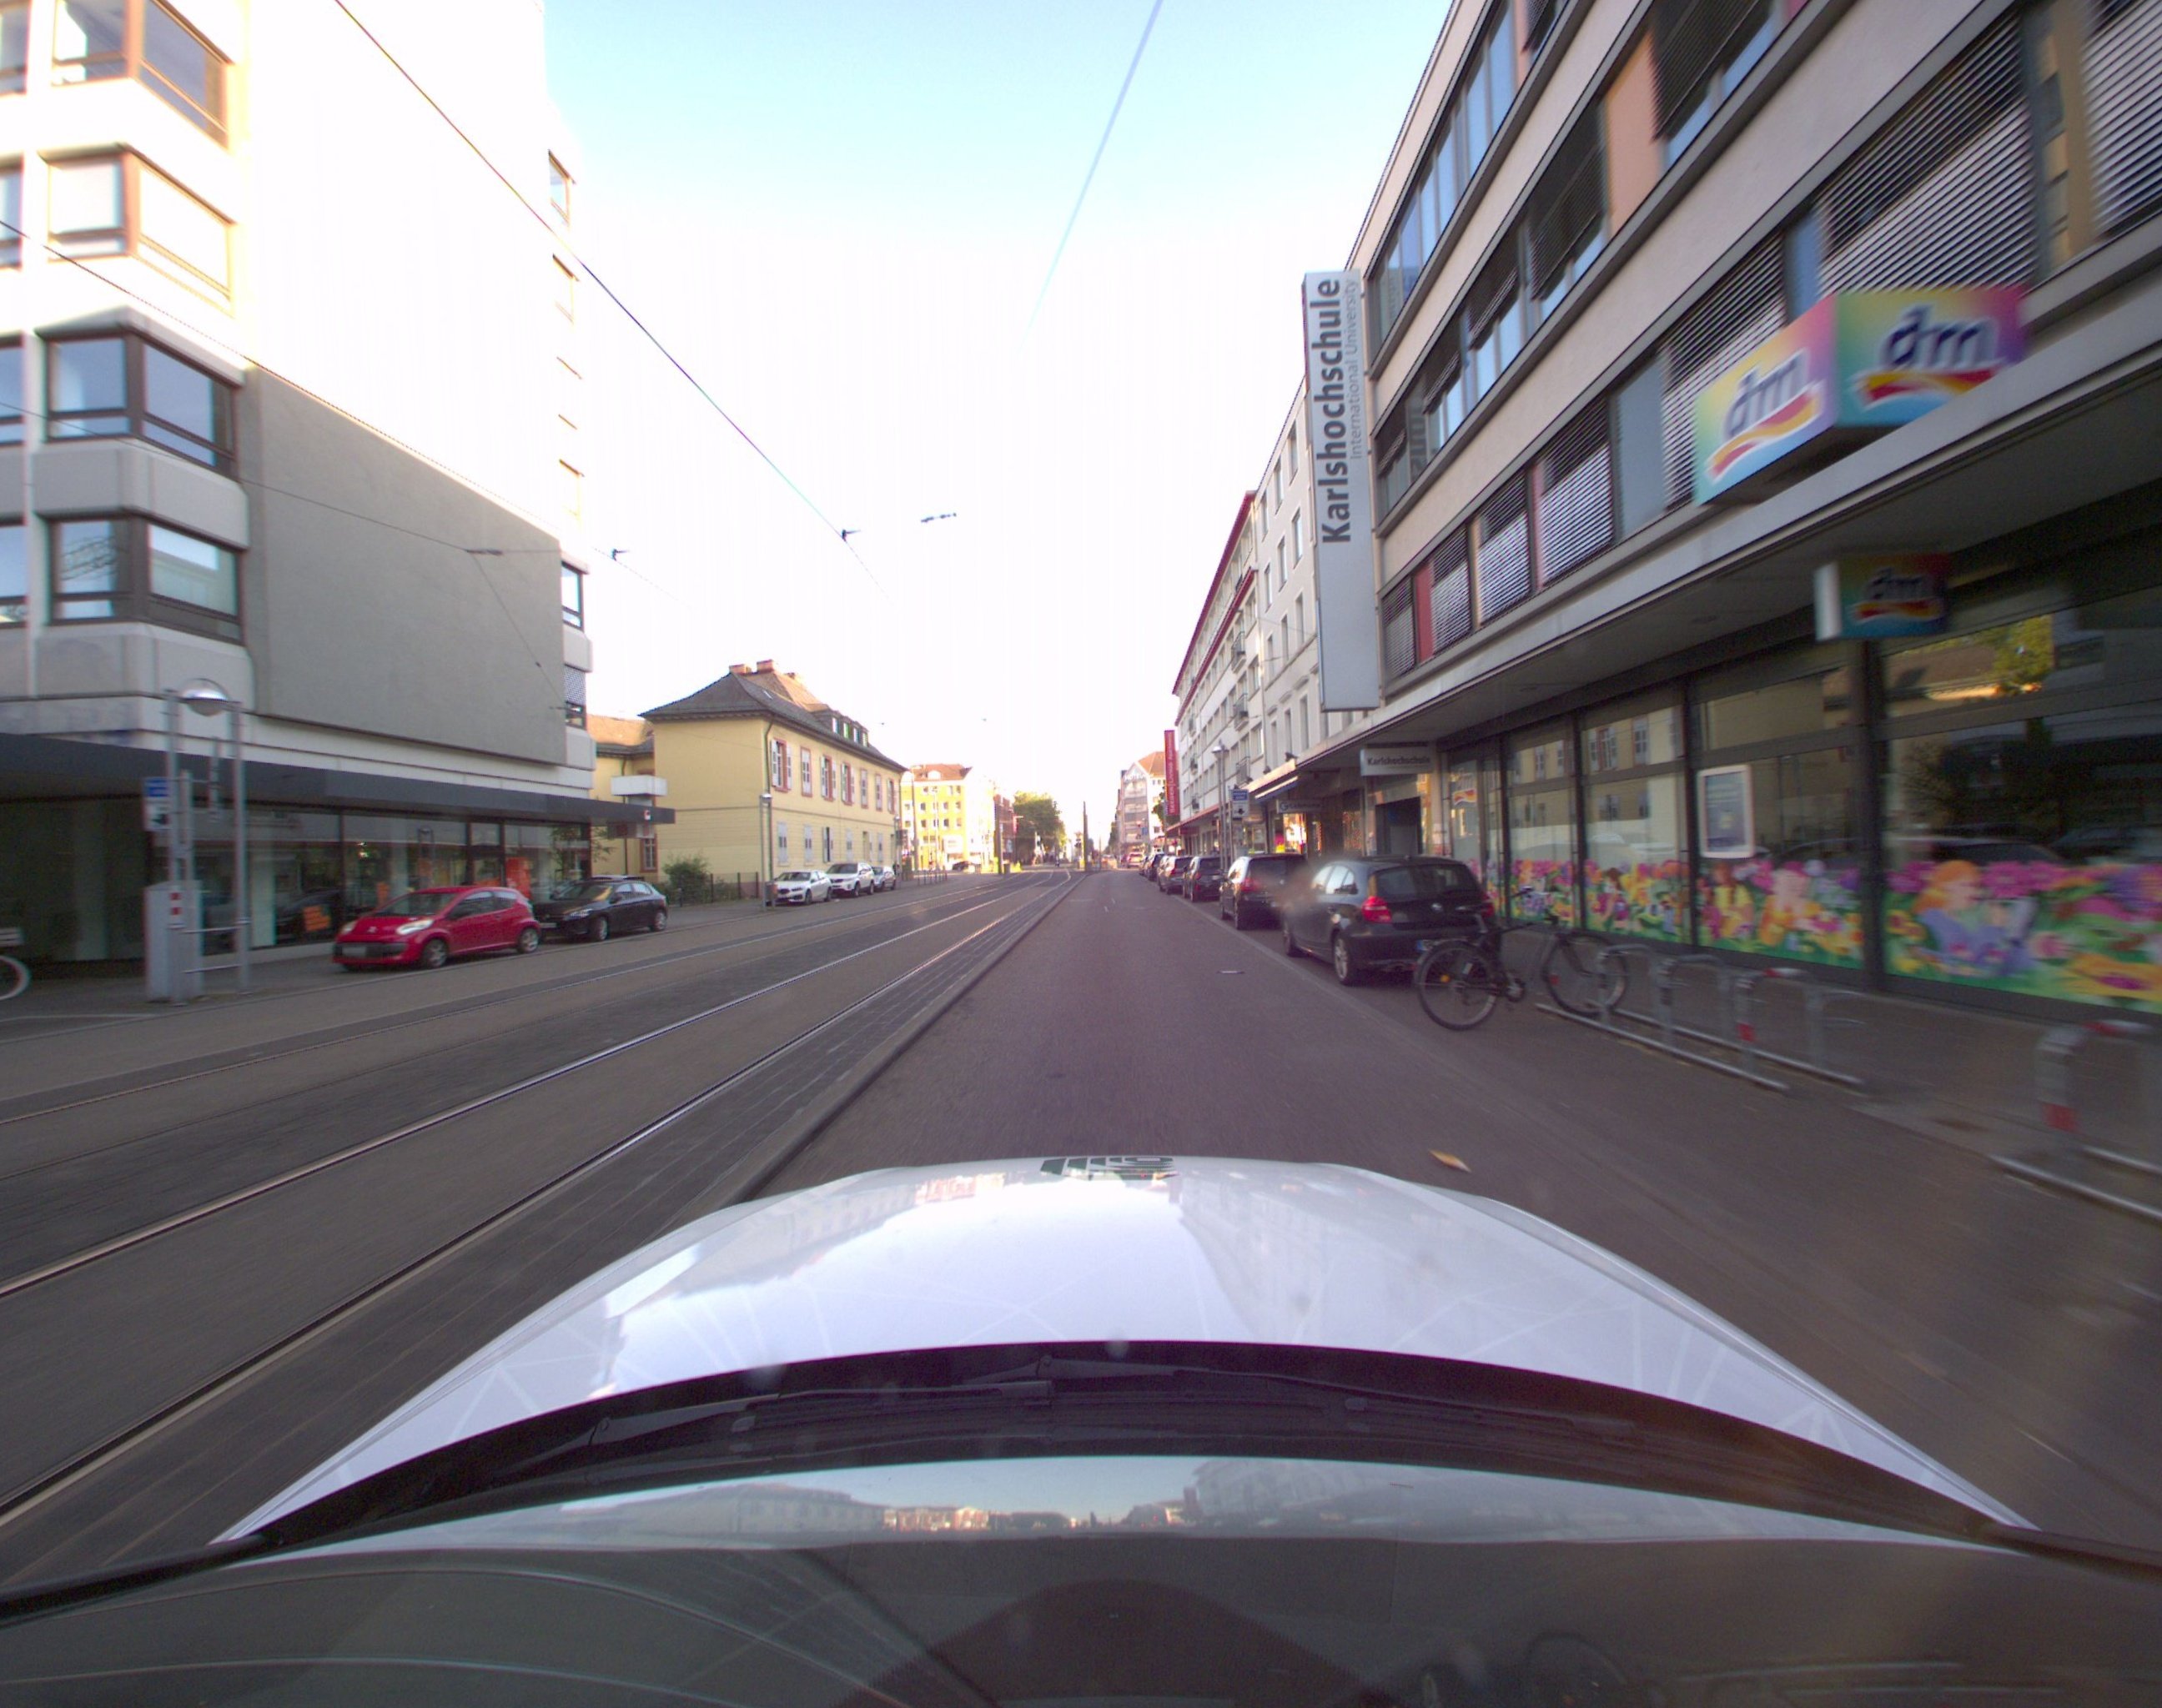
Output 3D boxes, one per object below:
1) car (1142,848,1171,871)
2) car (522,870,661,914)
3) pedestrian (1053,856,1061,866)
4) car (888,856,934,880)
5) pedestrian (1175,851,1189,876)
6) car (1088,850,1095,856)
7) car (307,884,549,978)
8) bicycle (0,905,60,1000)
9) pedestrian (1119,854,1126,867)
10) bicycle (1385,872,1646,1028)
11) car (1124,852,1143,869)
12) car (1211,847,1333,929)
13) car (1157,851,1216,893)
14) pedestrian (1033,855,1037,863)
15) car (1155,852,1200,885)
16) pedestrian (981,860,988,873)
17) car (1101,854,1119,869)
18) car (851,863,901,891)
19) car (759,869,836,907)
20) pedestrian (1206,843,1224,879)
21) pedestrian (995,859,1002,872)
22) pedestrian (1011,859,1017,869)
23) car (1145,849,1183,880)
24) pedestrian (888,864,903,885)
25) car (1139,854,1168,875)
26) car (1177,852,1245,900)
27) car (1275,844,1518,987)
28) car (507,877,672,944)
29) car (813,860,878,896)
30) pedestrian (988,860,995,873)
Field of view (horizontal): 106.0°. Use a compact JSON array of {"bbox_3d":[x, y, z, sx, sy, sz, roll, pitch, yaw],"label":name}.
[{"bbox_3d":[4.886,0.359,53.287,1.645,1.421,4.192,0,-1,2],"label":"car"},{"bbox_3d":[-18.130,1.378,30.296,3.975,1.553,1.913,0,-1,-1],"label":"car"},{"bbox_3d":[-3.243,0.969,110.206,0.900,1.375,0.853,-2,0,-1],"label":"pedestrian"},{"bbox_3d":[-15.643,1.310,75.041,3.994,2.013,1.990,-2,0,-15],"label":"car"},{"bbox_3d":[6.363,0.602,51.314,0.730,1.574,0.967,-2,0,1],"label":"pedestrian"},{"bbox_3d":[3.309,-0.285,249.976,1.985,1.901,4.003,0,-1,3],"label":"car"},{"bbox_3d":[-12.391,1.385,15.793,1.685,1.434,3.593,-2,0,2],"label":"car"},{"bbox_3d":[-16.658,1.448,12.034,2.039,1.340,0.875,0,-1,1],"label":"bicycle"},{"bbox_3d":[5.497,0.809,107.712,0.870,1.706,0.701,0,-1,4],"label":"pedestrian"},{"bbox_3d":[3.676,0.790,6.975,1.834,1.109,0.642,-5,-1,-2],"label":"bicycle"},{"bbox_3d":[5.371,0.699,83.656,1.828,1.636,4.093,-3,-2,3],"label":"car"},{"bbox_3d":[3.911,0.657,17.316,1.758,1.513,4.073,0,-1,2],"label":"car"},{"bbox_3d":[4.124,0.675,32.485,1.785,1.533,4.857,0,-1,1],"label":"car"},{"bbox_3d":[-9.108,0.947,161.749,0.801,1.664,0.704,0,-1,6],"label":"pedestrian"},{"bbox_3d":[4.573,0.661,39.183,1.774,1.522,4.359,0,0,2],"label":"car"},{"bbox_3d":[-10.380,1.320,87.476,0.662,1.375,0.651,-2,0,-1],"label":"pedestrian"},{"bbox_3d":[3.646,0.952,102.417,1.986,1.596,4.001,-6,-2,2],"label":"car"},{"bbox_3d":[-11.675,1.282,46.687,1.742,1.474,4.001,0,0,1],"label":"car"},{"bbox_3d":[-11.957,1.394,34.630,1.714,1.453,4.284,0,0,1],"label":"car"},{"bbox_3d":[7.219,0.361,43.881,0.772,1.880,0.934,-3,-1,0],"label":"pedestrian"},{"bbox_3d":[-8.875,1.251,87.906,0.662,1.375,0.651,-2,0,-1],"label":"pedestrian"},{"bbox_3d":[-14.351,2.145,173.949,1.090,2.014,1.162,0,-1,-1],"label":"pedestrian"},{"bbox_3d":[4.807,0.608,47.527,1.849,1.701,4.419,0,-1,1],"label":"car"},{"bbox_3d":[-13.469,1.495,59.190,0.796,1.542,0.878,0,-1,4],"label":"pedestrian"},{"bbox_3d":[5.184,0.763,58.880,1.783,1.413,4.688,0,-1,1],"label":"car"},{"bbox_3d":[4.208,0.691,26.890,1.719,1.481,4.001,0,-1,2],"label":"car"},{"bbox_3d":[3.732,0.658,10.417,1.648,1.463,4.024,0,-1,2],"label":"car"},{"bbox_3d":[-12.279,1.343,20.665,1.685,1.425,3.967,0,0,2],"label":"car"},{"bbox_3d":[-11.640,1.157,40.623,1.880,1.661,4.760,0,0,0],"label":"car"},{"bbox_3d":[-9.641,1.296,87.647,0.662,1.375,0.651,-1,0,-1],"label":"pedestrian"}]
